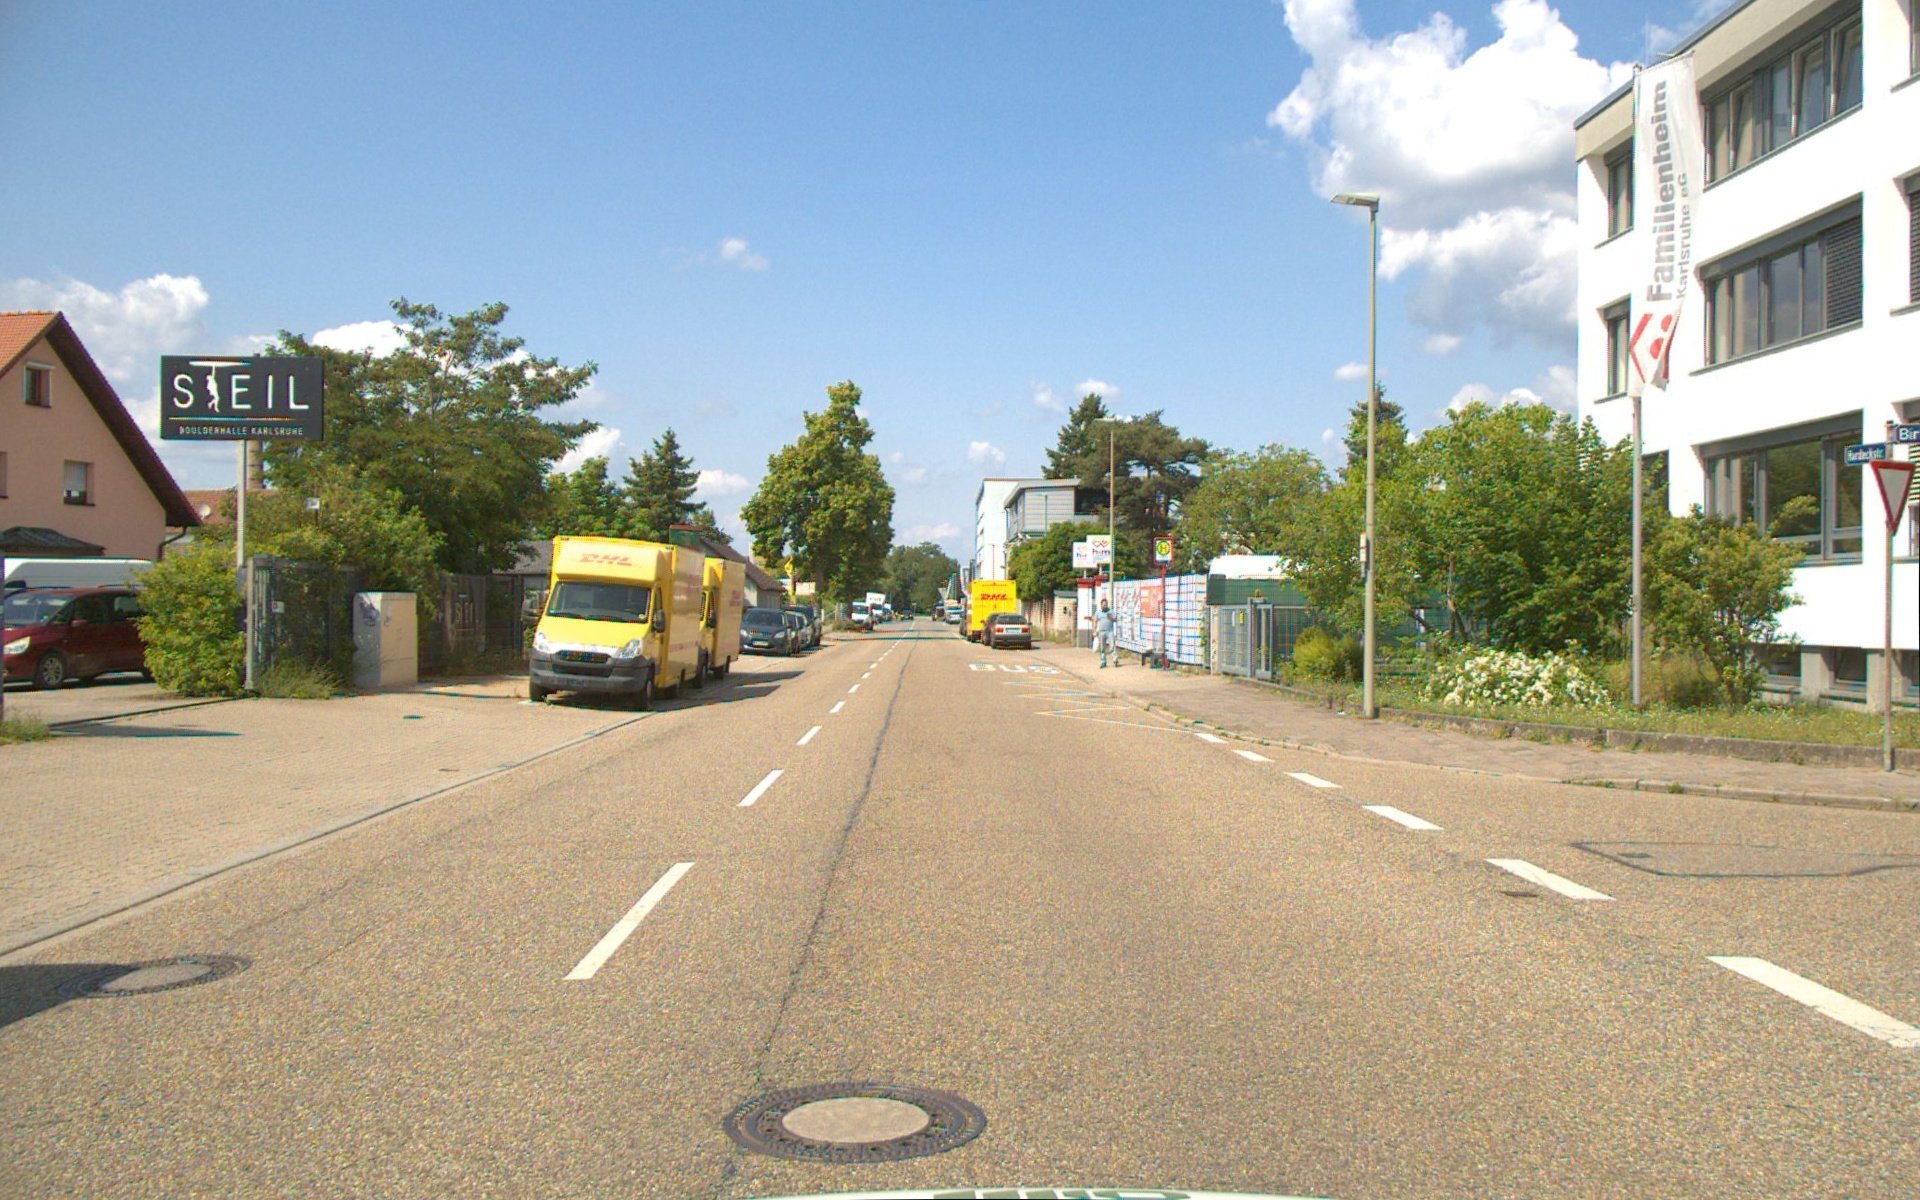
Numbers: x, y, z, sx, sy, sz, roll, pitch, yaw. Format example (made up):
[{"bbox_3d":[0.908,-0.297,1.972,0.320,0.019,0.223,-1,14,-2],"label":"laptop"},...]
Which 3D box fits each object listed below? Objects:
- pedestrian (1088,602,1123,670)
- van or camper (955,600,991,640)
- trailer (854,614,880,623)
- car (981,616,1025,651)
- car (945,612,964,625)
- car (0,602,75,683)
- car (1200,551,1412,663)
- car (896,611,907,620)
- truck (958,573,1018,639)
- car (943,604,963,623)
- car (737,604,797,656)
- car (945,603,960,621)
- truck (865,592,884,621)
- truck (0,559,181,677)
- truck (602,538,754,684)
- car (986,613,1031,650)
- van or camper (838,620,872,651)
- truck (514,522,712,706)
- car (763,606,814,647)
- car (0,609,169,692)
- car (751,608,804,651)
[{"bbox_3d":[3.786,0.936,43.133,0.702,1.726,0.522,-5,0,-6],"label":"pedestrian"},{"bbox_3d":[0.758,1.216,100.629,1.953,2.331,5.446,2,-1,-1],"label":"van or camper"},{"bbox_3d":[-9.586,1.890,170.328,2.368,0.828,5.536,3,0,-1],"label":"trailer"},{"bbox_3d":[1.884,1.459,73.387,1.629,1.466,4.280,0,-1,-3],"label":"car"},{"bbox_3d":[-0.612,1.902,172.705,1.889,1.333,3.999,0,0,-1],"label":"car"},{"bbox_3d":[-19.185,0.809,31.793,1.727,1.539,3.920,0,0,11],"label":"car"},{"bbox_3d":[8.651,0.189,41.589,4.816,2.698,2.069,0,-1,-9],"label":"car"},{"bbox_3d":[-8.609,2.312,244.364,1.621,1.348,4.415,0,0,-1],"label":"car"},{"bbox_3d":[1.297,0.309,80.342,2.425,2.991,7.184,2,-1,-2],"label":"truck"},{"bbox_3d":[-0.836,1.495,186.419,2.171,2.049,5.483,0,0,-1],"label":"car"},{"bbox_3d":[-6.658,1.026,57.404,1.690,1.632,4.411,4,-1,-3],"label":"car"},{"bbox_3d":[-0.947,1.382,197.107,1.673,2.126,3.998,0,0,-2],"label":"car"},{"bbox_3d":[-9.537,0.723,184.848,1.988,3.209,6.498,0,0,-1],"label":"truck"},{"bbox_3d":[-20.990,0.407,38.515,2.065,2.531,5.725,0,0,12],"label":"truck"},{"bbox_3d":[-6.305,0.266,37.942,2.269,2.912,7.102,3,-1,-1],"label":"truck"},{"bbox_3d":[1.975,1.265,68.680,1.618,1.411,4.421,2,0,-1],"label":"car"},{"bbox_3d":[-8.790,2.959,139.291,2.128,2.455,7.699,1,0,2],"label":"van or camper"},{"bbox_3d":[-6.117,0.293,30.225,2.223,2.905,7.171,2,-1,-2],"label":"truck"},{"bbox_3d":[-7.076,1.064,68.531,1.698,1.544,4.740,3,0,-2],"label":"car"},{"bbox_3d":[-16.380,0.863,29.842,1.771,1.328,3.872,0,0,13],"label":"car"},{"bbox_3d":[-6.886,1.098,62.746,1.595,1.473,4.025,5,-1,-2],"label":"car"}]
